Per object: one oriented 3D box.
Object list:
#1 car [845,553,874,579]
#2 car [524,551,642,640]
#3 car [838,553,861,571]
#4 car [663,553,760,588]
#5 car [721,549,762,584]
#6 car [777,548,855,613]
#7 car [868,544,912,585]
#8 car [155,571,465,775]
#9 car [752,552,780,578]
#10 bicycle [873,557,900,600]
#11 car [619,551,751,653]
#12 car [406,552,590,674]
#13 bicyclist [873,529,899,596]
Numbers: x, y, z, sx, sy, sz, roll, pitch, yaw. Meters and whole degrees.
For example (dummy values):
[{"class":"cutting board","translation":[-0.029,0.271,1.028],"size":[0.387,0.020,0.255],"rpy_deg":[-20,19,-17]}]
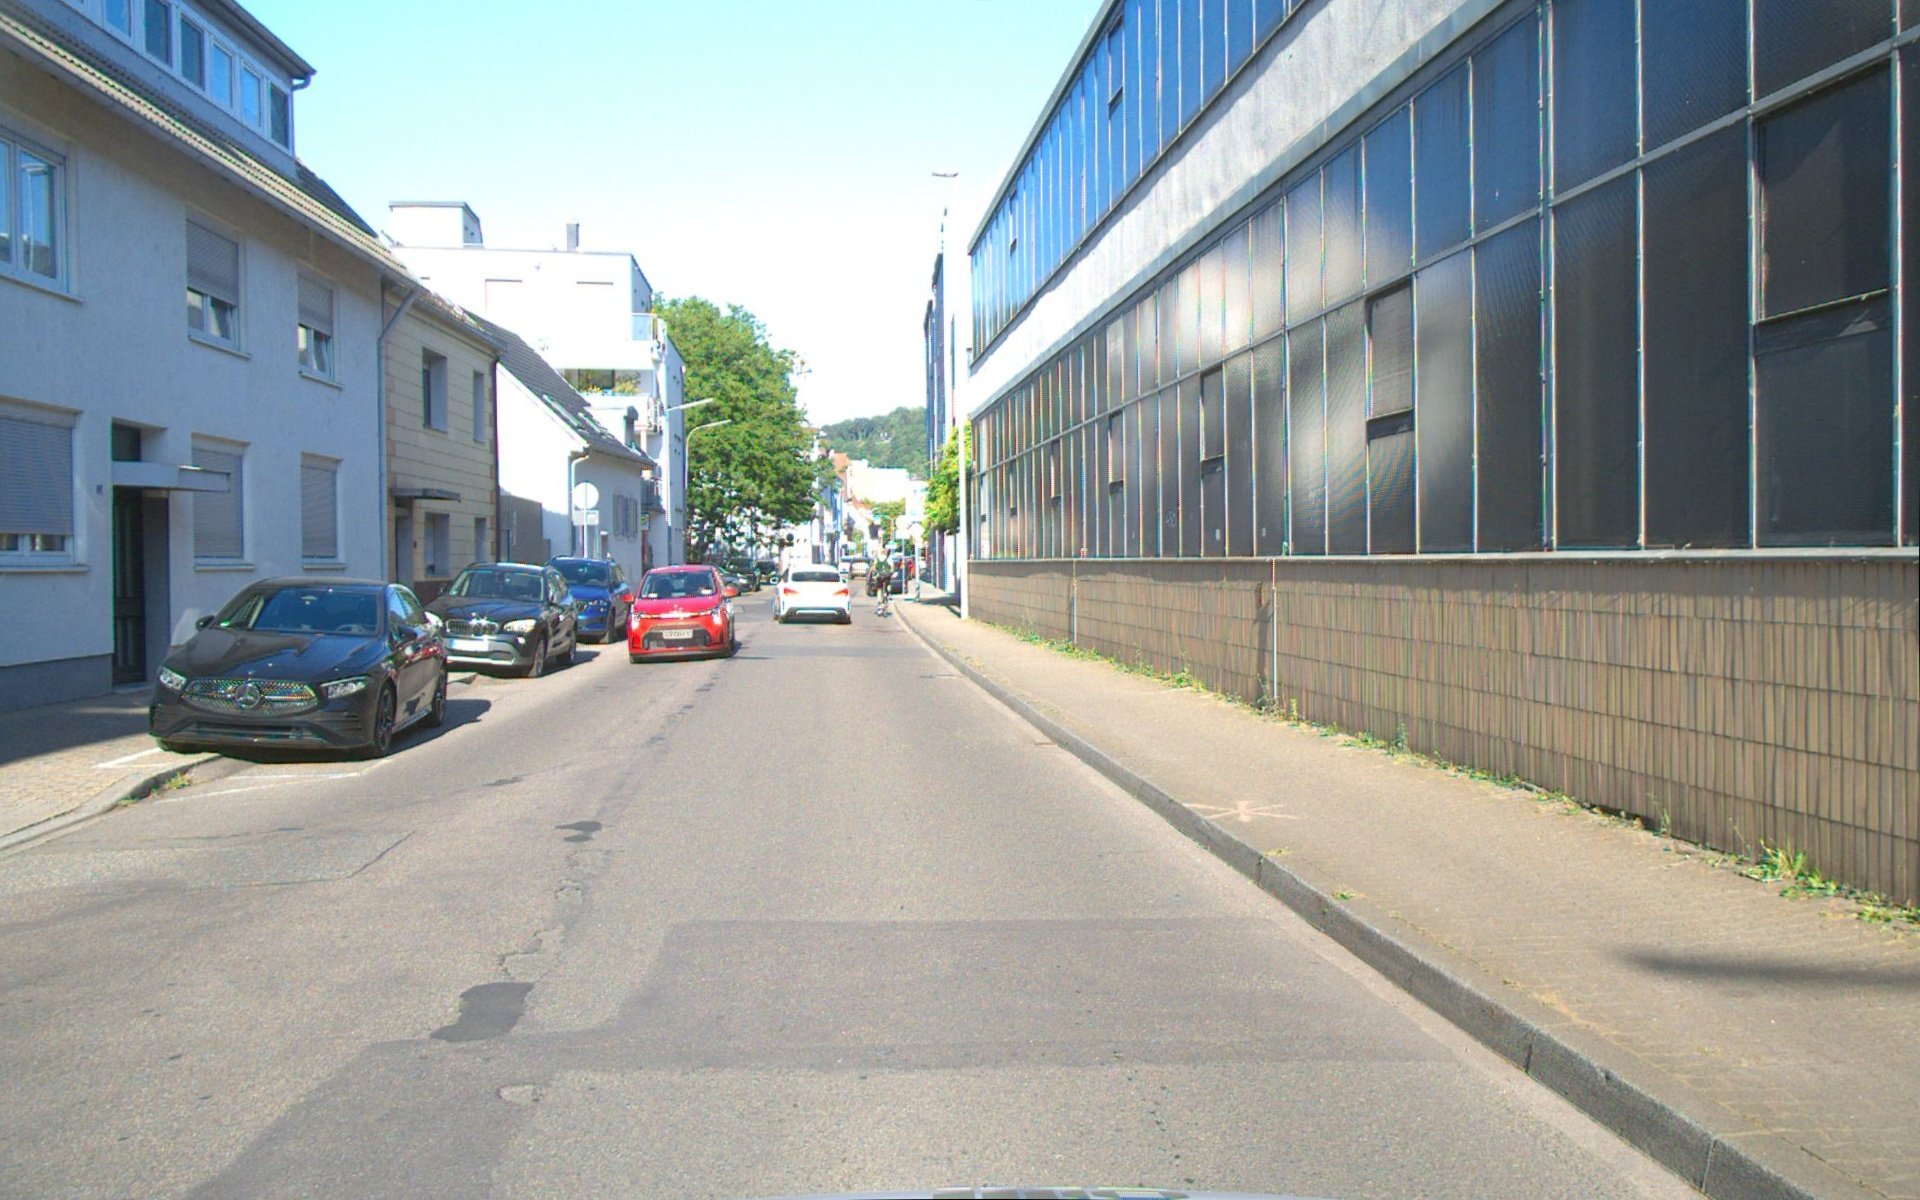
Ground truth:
[{"class":"car","translation":[-7.418,-2.519,121.896],"size":[1.818,1.822,4.601],"rpy_deg":[-1,2,-7]},{"class":"car","translation":[-7.588,-0.142,33.641],"size":[1.773,1.614,4.190],"rpy_deg":[0,3,-5]},{"class":"car","translation":[-10.877,-3.776,162.934],"size":[1.906,1.614,4.621],"rpy_deg":[-4,1,-1]},{"class":"car","translation":[-11.287,-1.333,75.217],"size":[4.045,1.517,1.849],"rpy_deg":[-1,1,2]},{"class":"car","translation":[-11.652,-1.829,88.543],"size":[1.816,1.822,4.605],"rpy_deg":[-1,2,-3]},{"class":"car","translation":[-3.617,-0.497,41.290],"size":[1.806,1.517,4.139],"rpy_deg":[-1,1,-6]},{"class":"car","translation":[-3.060,-1.537,71.511],"size":[1.598,1.614,4.065],"rpy_deg":[-4,1,-5]},{"class":"car","translation":[-5.643,0.521,14.896],"size":[1.653,1.562,4.327],"rpy_deg":[0,1,-8]},{"class":"car","translation":[-12.519,-2.275,106.767],"size":[1.671,1.602,3.910],"rpy_deg":[-1,2,-5]},{"class":"bicycle","translation":[-2.043,-0.608,45.820],"size":[0.684,1.150,2.401],"rpy_deg":[-1,1,-4]},{"class":"car","translation":[-4.466,-0.008,27.400],"size":[1.806,1.517,4.140],"rpy_deg":[-2,1,-5]},{"class":"car","translation":[-6.800,0.125,24.786],"size":[1.821,1.614,4.333],"rpy_deg":[0,2,-4]},{"class":"bicyclist","translation":[-2.046,-1.046,45.693],"size":[0.684,1.821,1.040],"rpy_deg":[-1,1,-4]}]
